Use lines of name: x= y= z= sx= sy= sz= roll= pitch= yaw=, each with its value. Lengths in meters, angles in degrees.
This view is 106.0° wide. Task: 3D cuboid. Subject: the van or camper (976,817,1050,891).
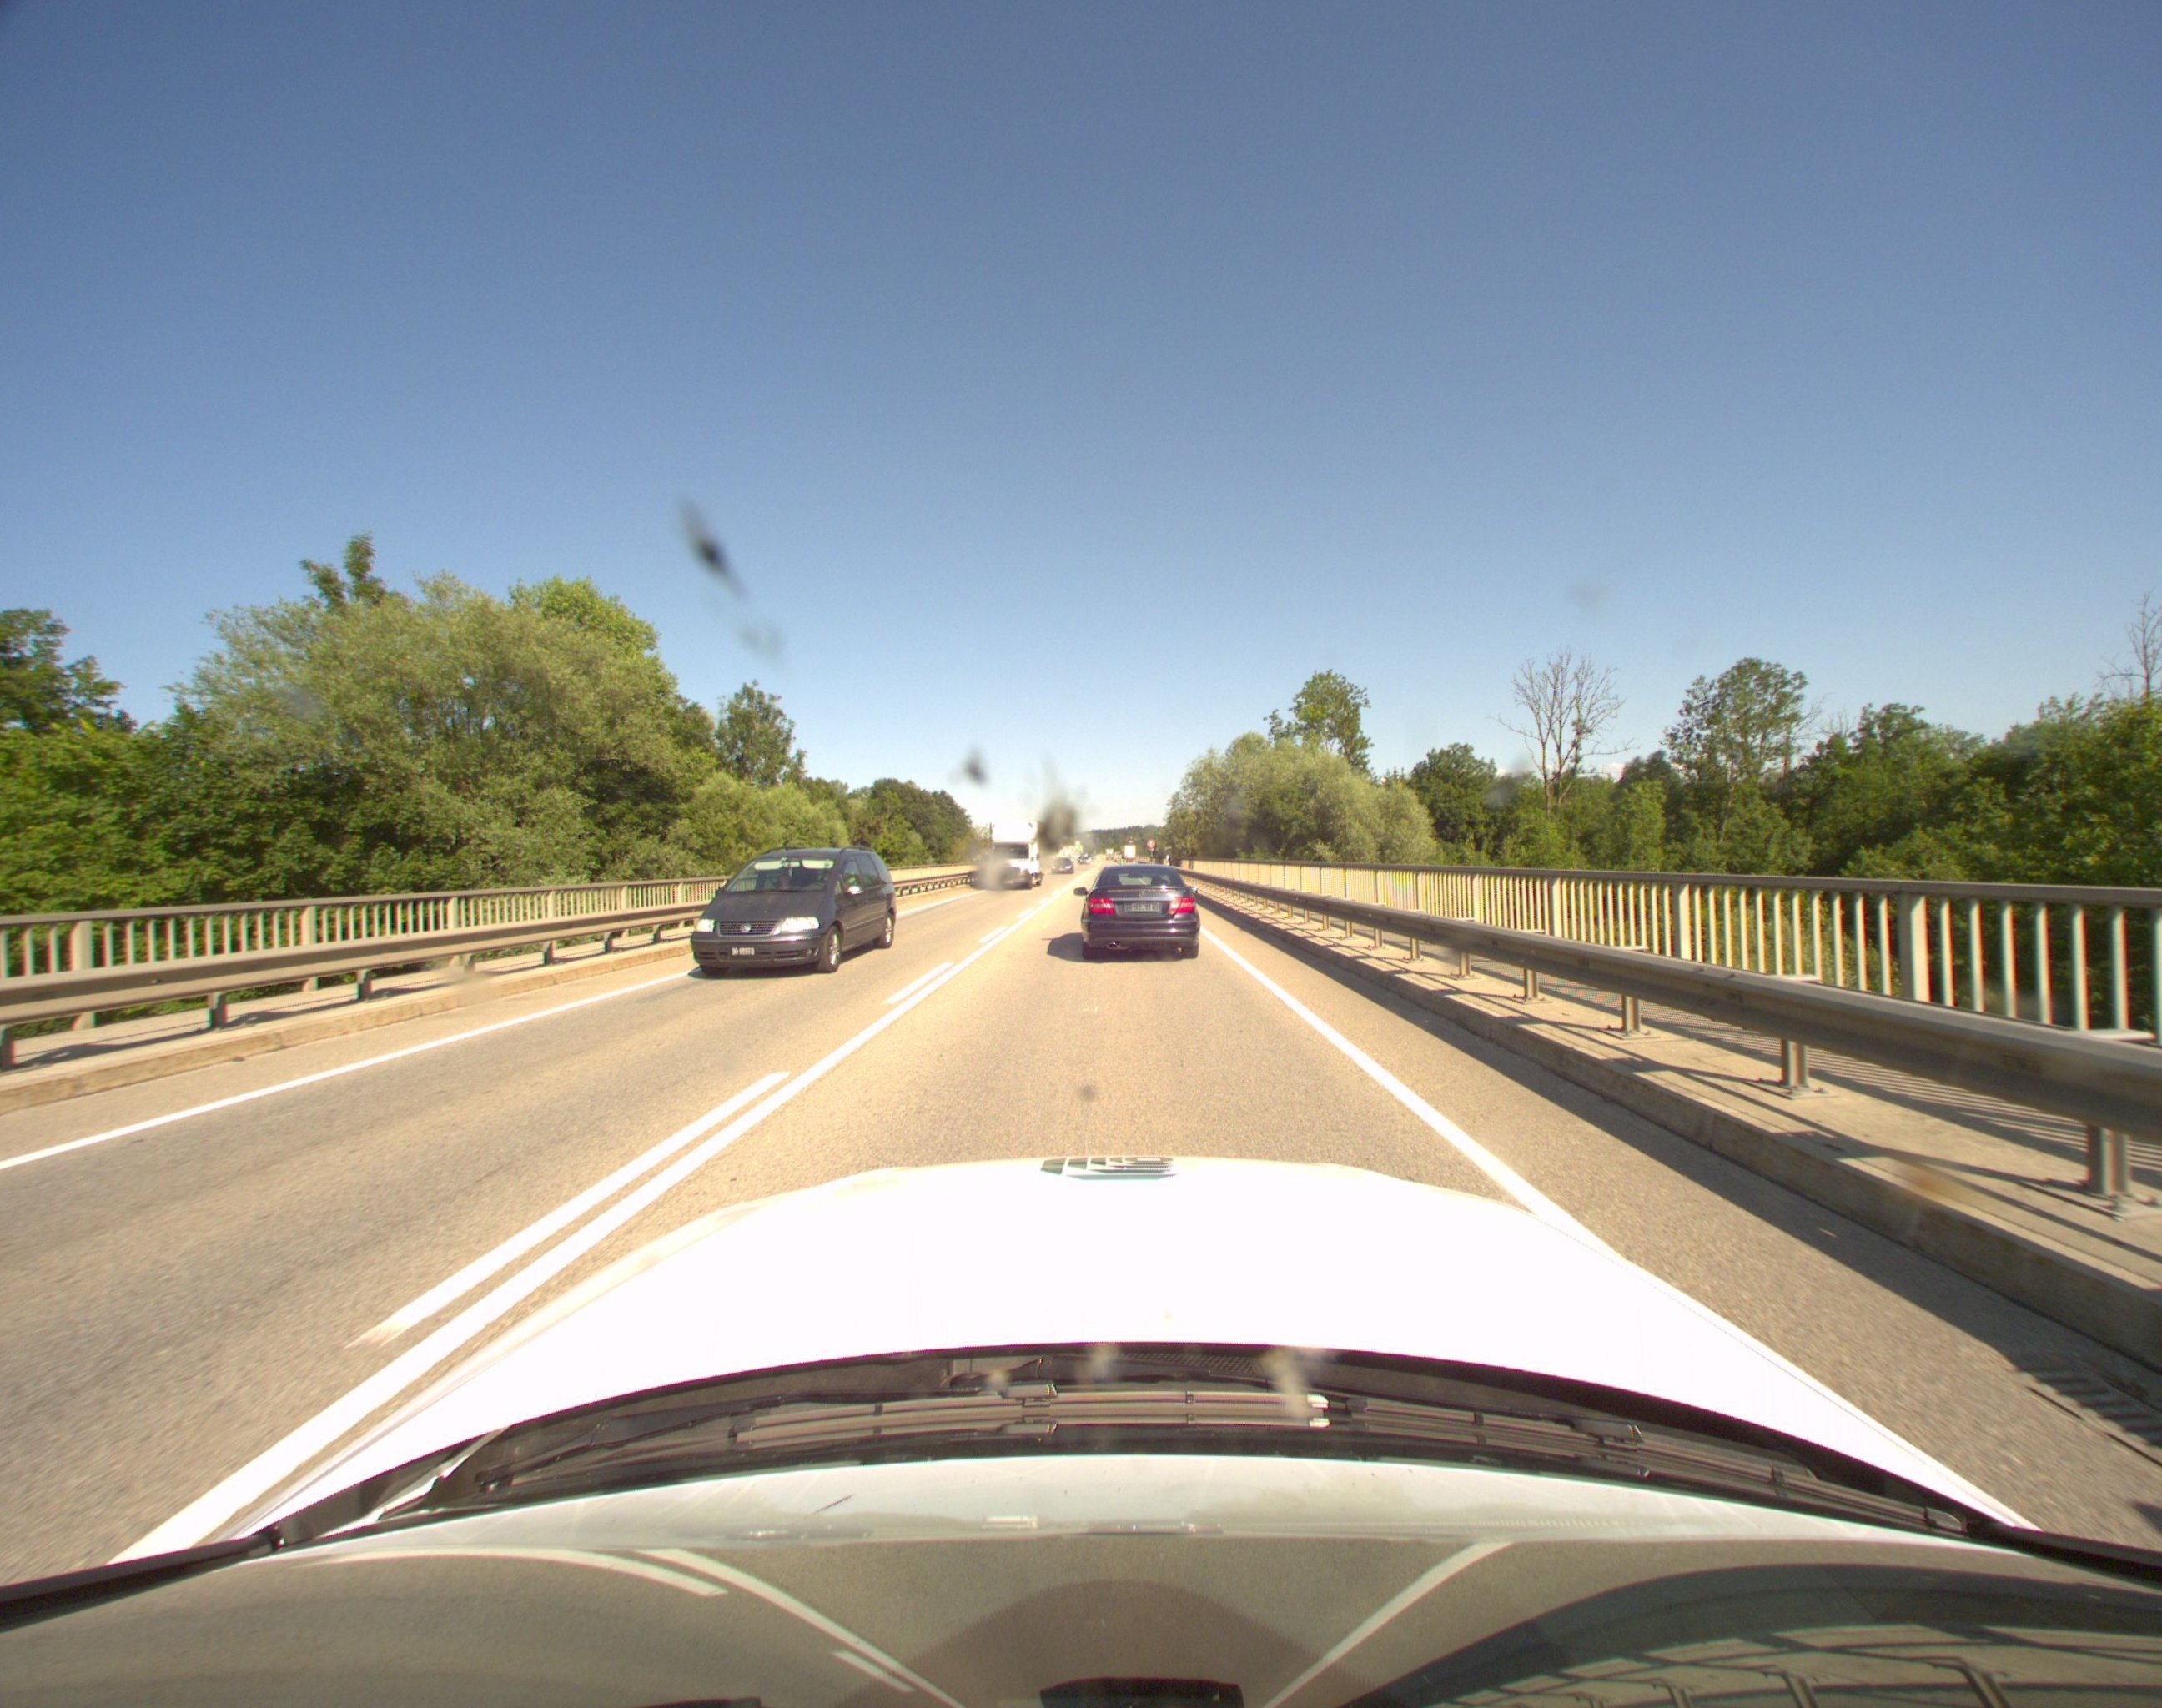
van or camper: x=-3.190 y=-0.025 z=40.118 sx=2.625 sy=3.256 sz=7.754 roll=-1 pitch=0 yaw=2

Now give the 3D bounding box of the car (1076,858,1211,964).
car: x=0.955 y=0.787 z=12.977 sx=1.786 sy=1.376 sz=4.003 roll=-1 pitch=0 yaw=3

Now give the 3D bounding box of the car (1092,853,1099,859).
car: x=3.873 y=0.529 z=221.484 sx=1.796 sy=1.606 sz=3.919 roll=0 pitch=0 yaw=4

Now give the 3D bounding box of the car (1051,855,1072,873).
car: x=-1.627 y=0.792 z=69.059 sx=1.654 sy=1.436 sz=4.187 roll=-1 pitch=0 yaw=0

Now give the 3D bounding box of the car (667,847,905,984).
car: x=-4.097 y=0.743 z=12.234 sx=1.835 sy=1.642 sz=4.577 roll=-1 pitch=0 yaw=1

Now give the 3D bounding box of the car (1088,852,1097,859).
car: x=3.369 y=0.467 z=234.850 sx=1.982 sy=2.013 sz=4.010 roll=-1 pitch=0 yaw=9

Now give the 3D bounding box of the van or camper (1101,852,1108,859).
van or camper: x=7.163 y=0.412 z=248.160 sx=1.984 sy=2.013 sz=4.005 roll=-1 pitch=0 yaw=5

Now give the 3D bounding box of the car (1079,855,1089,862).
car: x=0.632 y=0.796 z=154.831 sx=1.694 sy=1.356 sz=3.738 roll=-1 pitch=0 yaw=3
